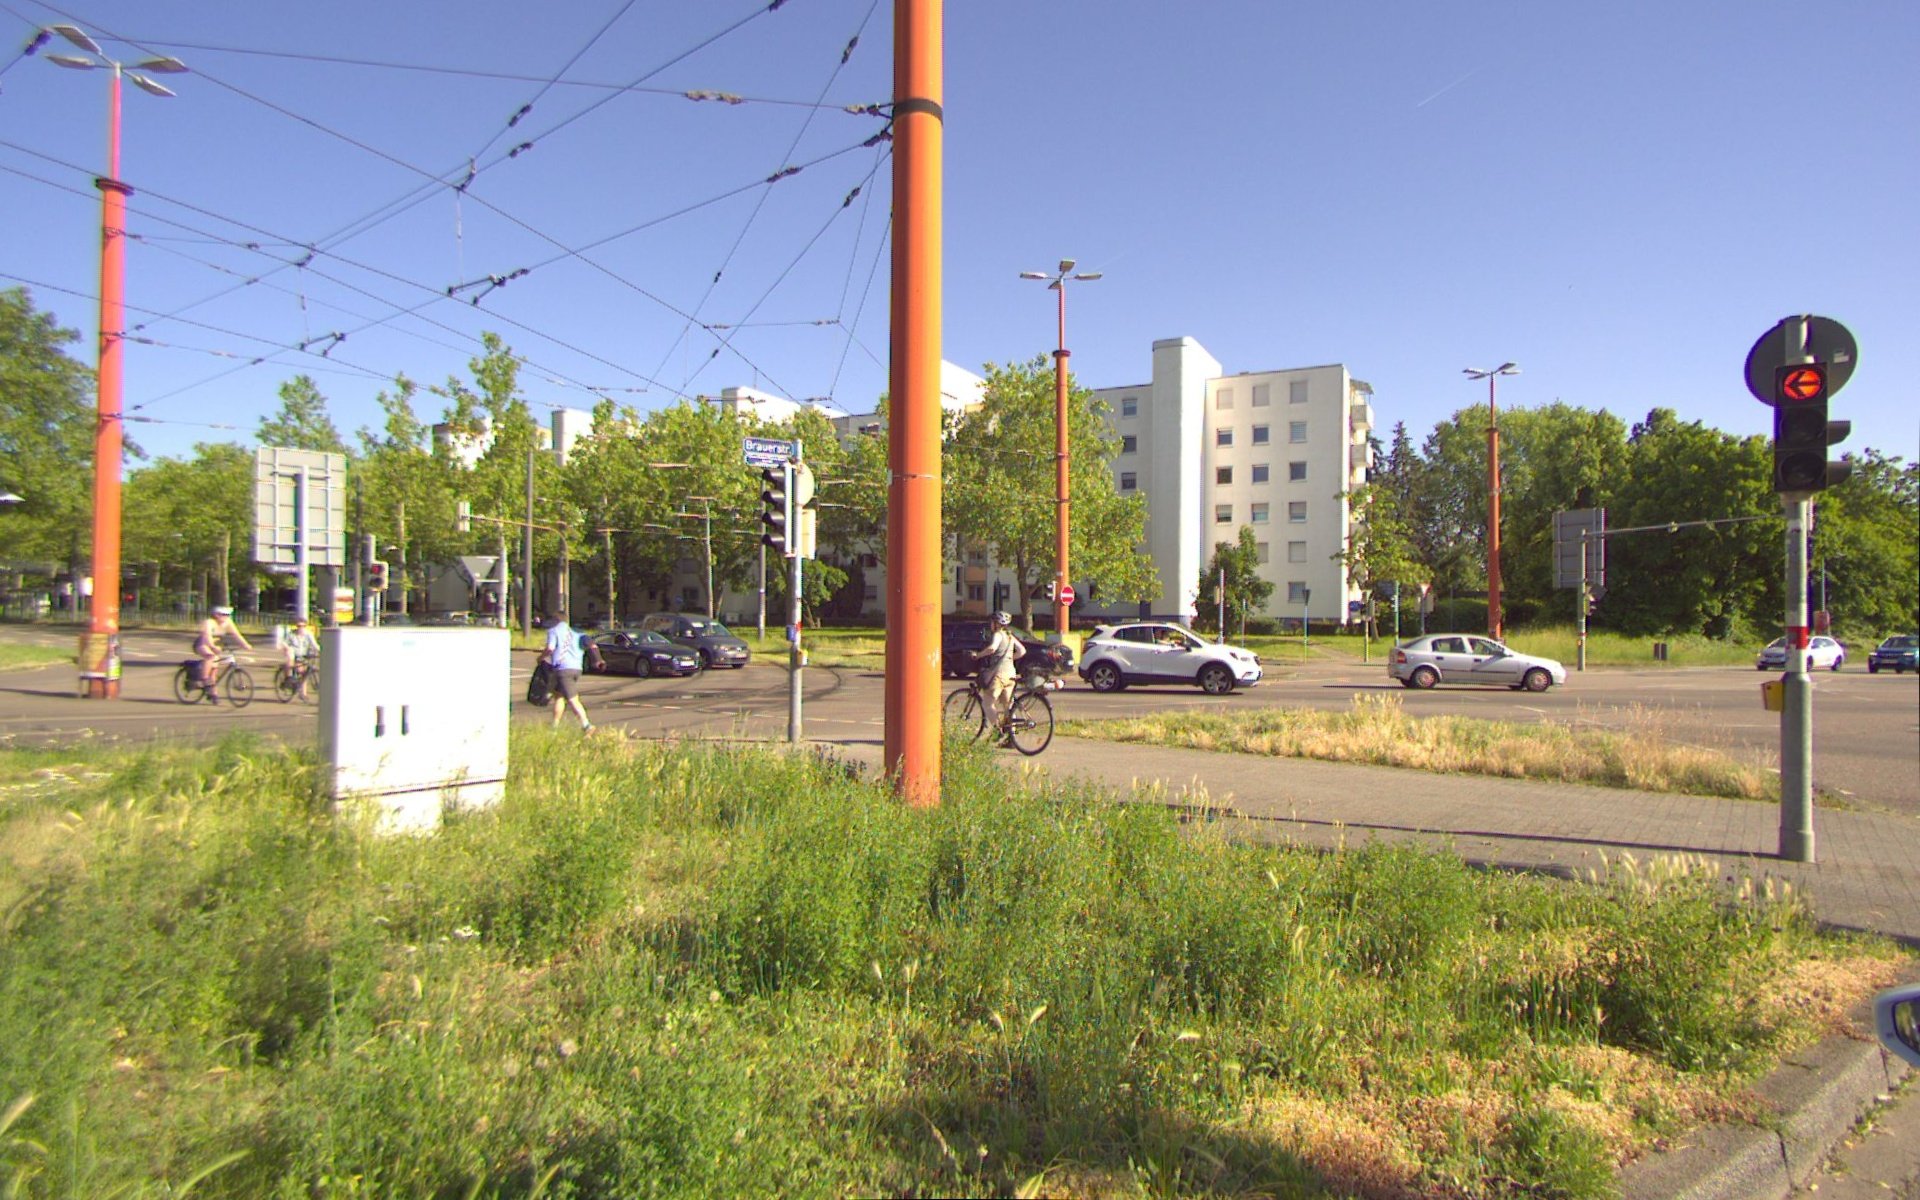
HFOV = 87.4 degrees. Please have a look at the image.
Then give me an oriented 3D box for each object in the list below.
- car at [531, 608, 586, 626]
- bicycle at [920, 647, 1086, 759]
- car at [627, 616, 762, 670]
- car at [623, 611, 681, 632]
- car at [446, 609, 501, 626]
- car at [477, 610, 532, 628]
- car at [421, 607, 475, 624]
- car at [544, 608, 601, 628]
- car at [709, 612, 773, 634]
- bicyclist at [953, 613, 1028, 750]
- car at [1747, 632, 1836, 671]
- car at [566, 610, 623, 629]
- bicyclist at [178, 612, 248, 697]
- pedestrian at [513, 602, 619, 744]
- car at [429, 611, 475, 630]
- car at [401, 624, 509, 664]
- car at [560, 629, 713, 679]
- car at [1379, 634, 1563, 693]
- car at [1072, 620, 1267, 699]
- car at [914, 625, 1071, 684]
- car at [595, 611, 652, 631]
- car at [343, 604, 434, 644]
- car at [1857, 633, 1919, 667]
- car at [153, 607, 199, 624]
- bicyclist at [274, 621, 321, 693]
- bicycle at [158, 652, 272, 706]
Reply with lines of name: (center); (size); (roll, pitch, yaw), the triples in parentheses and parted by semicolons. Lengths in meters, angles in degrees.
car: (-31.934, 1.364, 79.969); (3.935, 1.428, 1.794); (1, -1, -17)
bicycle: (0.504, 1.199, 12.139); (1.915, 1.210, 0.690); (0, -1, 33)
car: (-9.053, 1.419, 34.209); (4.225, 1.730, 1.850); (0, -1, 24)
car: (-22.251, 1.543, 72.643); (3.934, 1.428, 1.794); (1, -1, -16)
car: (-41.431, 1.480, 85.622); (3.935, 1.428, 1.794); (1, -1, -17)
car: (-38.027, 1.562, 83.881); (3.935, 1.428, 1.794); (1, -1, -17)
car: (-44.786, 1.382, 87.892); (3.935, 1.428, 1.794); (1, -1, -17)
car: (-30.072, 1.414, 78.072); (3.934, 1.428, 1.794); (1, -1, -16)
car: (-14.538, 1.547, 66.840); (1.770, 1.428, 3.987); (0, -1, 35)
bicyclist: (0.379, 0.967, 12.239); (0.651, 1.605, 0.671); (0, -1, 33)
car: (35.214, 2.139, 42.515); (3.891, 1.552, 1.752); (1, -1, -31)
car: (-27.573, 1.481, 75.918); (3.934, 1.428, 1.794); (1, -1, -16)
bicyclist: (-14.131, 1.013, 19.021); (0.752, 1.565, 0.732); (1, -1, -1)
pedestrian: (-5.288, 0.941, 13.487); (0.973, 1.817, 0.950); (0, -1, 40)
car: (-39.777, 1.589, 78.643); (3.938, 1.416, 1.749); (0, -1, 39)
car: (-18.628, 1.580, 37.010); (4.291, 1.368, 1.760); (0, -1, 36)
car: (-9.705, 1.576, 30.078); (4.280, 1.368, 1.764); (0, -1, 24)
car: (12.911, 1.575, 25.597); (3.919, 1.363, 1.489); (0, -1, 12)
car: (4.900, 1.325, 23.466); (4.171, 1.658, 1.828); (0, -1, 23)
car: (0.950, 1.546, 29.243); (4.179, 1.566, 1.858); (0, -1, 22)
car: (-24.992, 1.552, 74.694); (3.934, 1.428, 1.794); (1, -1, -16)
car: (-25.982, 1.078, 45.624); (4.233, 1.730, 1.847); (0, -1, 33)
car: (37.162, 1.960, 39.621); (3.571, 1.260, 1.730); (1, -1, -31)
car: (-93.986, 1.873, 120.451); (1.969, 2.040, 3.984); (0, -1, 38)
bicyclist: (-13.151, 1.119, 19.954); (0.616, 1.399, 0.443); (1, -1, -1)
bicycle: (-14.068, 1.486, 19.000); (1.612, 0.974, 0.685); (1, -1, -1)
